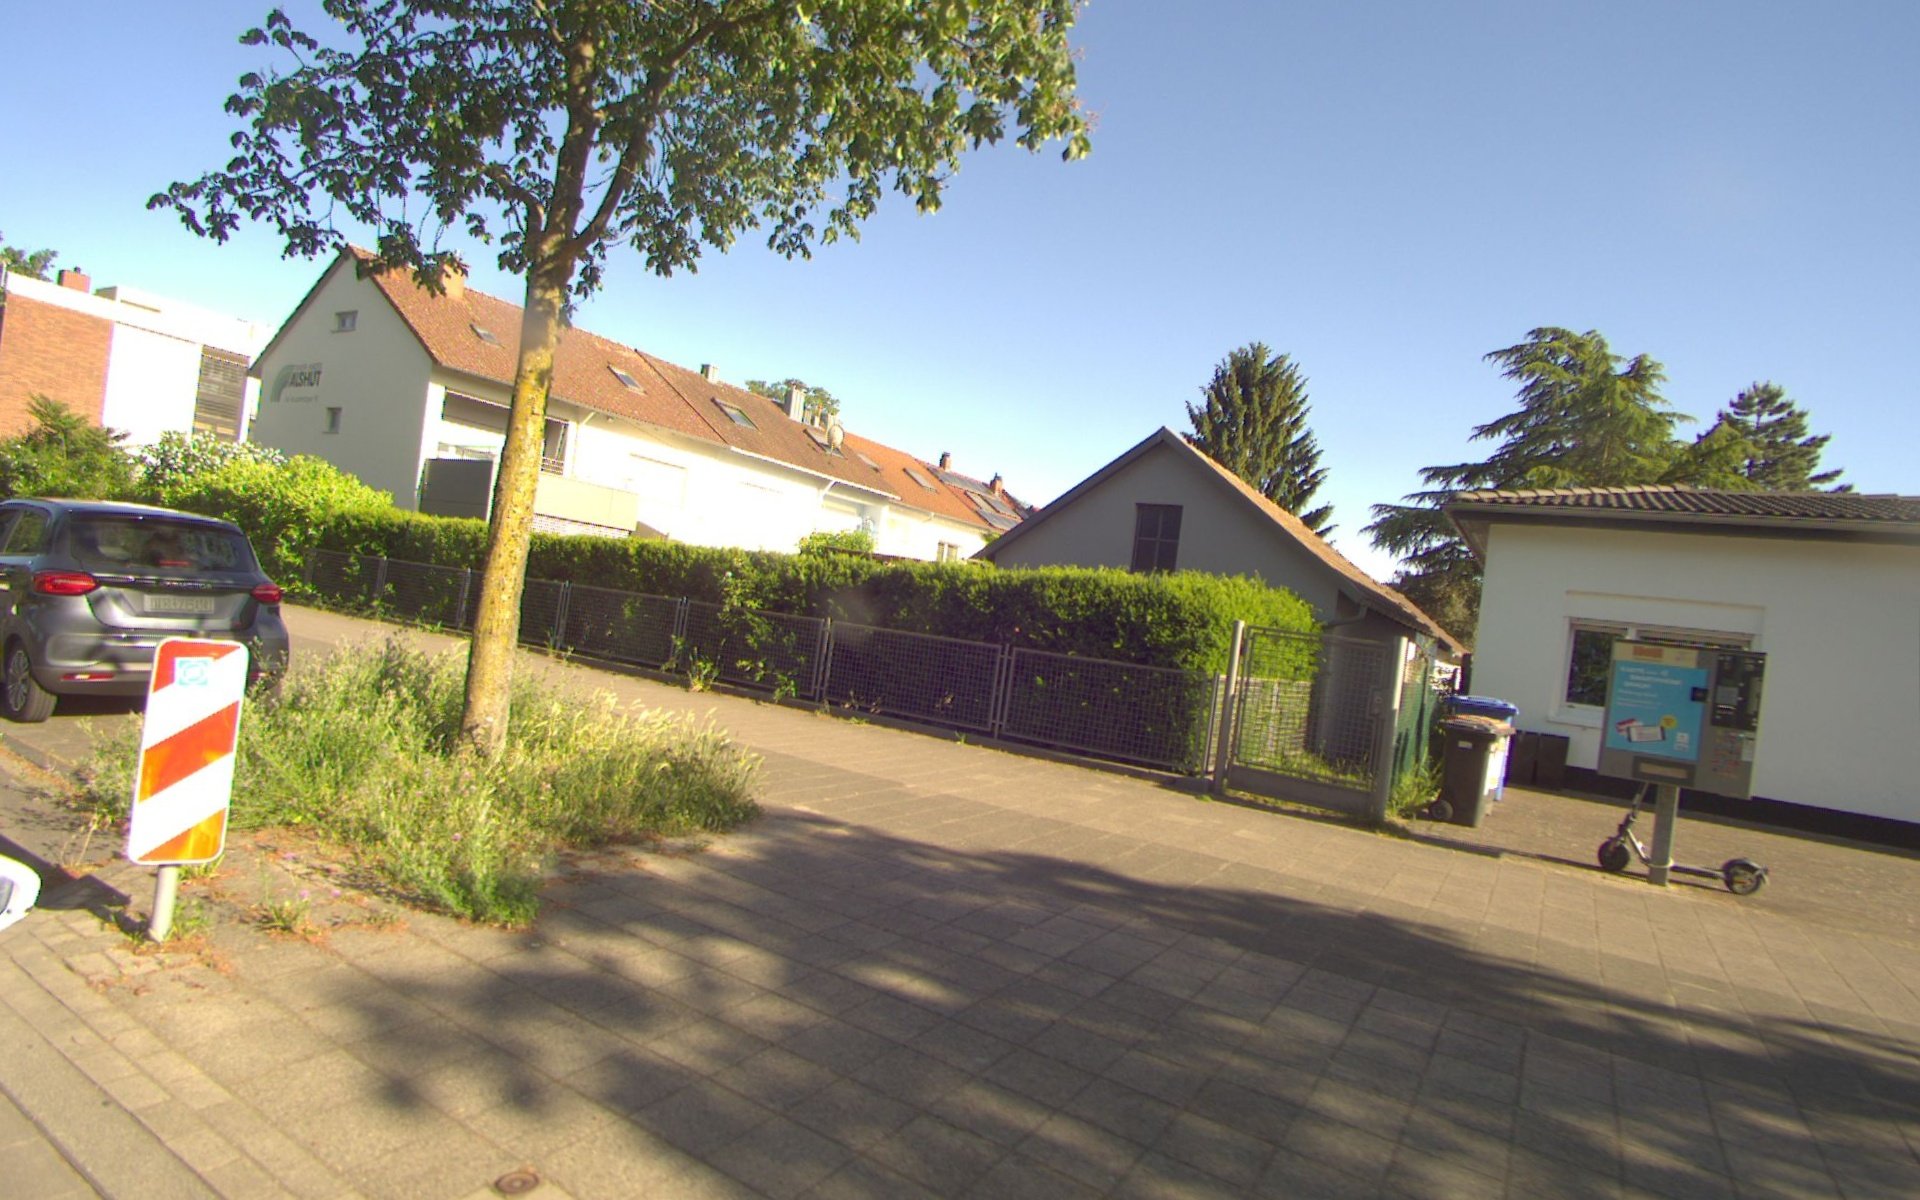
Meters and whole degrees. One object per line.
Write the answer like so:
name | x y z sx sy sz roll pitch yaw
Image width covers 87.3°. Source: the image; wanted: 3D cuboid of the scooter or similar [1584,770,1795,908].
scooter or similar | 5.517 1.793 7.683 1.208 0.726 0.449 6 3 31

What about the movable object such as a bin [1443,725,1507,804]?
movable object such as a bin | 5.545 1.756 10.830 0.518 0.728 0.459 6 1 31

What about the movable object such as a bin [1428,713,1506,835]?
movable object such as a bin | 4.653 1.576 9.222 0.518 0.989 0.459 6 1 31

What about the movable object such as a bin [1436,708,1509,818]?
movable object such as a bin | 4.971 1.561 9.757 0.518 0.941 0.459 6 1 31

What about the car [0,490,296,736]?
car | -7.146 -0.018 8.188 3.541 1.594 1.494 6 1 32

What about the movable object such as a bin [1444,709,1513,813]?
movable object such as a bin | 5.302 1.628 10.279 0.518 0.941 0.459 6 1 31
